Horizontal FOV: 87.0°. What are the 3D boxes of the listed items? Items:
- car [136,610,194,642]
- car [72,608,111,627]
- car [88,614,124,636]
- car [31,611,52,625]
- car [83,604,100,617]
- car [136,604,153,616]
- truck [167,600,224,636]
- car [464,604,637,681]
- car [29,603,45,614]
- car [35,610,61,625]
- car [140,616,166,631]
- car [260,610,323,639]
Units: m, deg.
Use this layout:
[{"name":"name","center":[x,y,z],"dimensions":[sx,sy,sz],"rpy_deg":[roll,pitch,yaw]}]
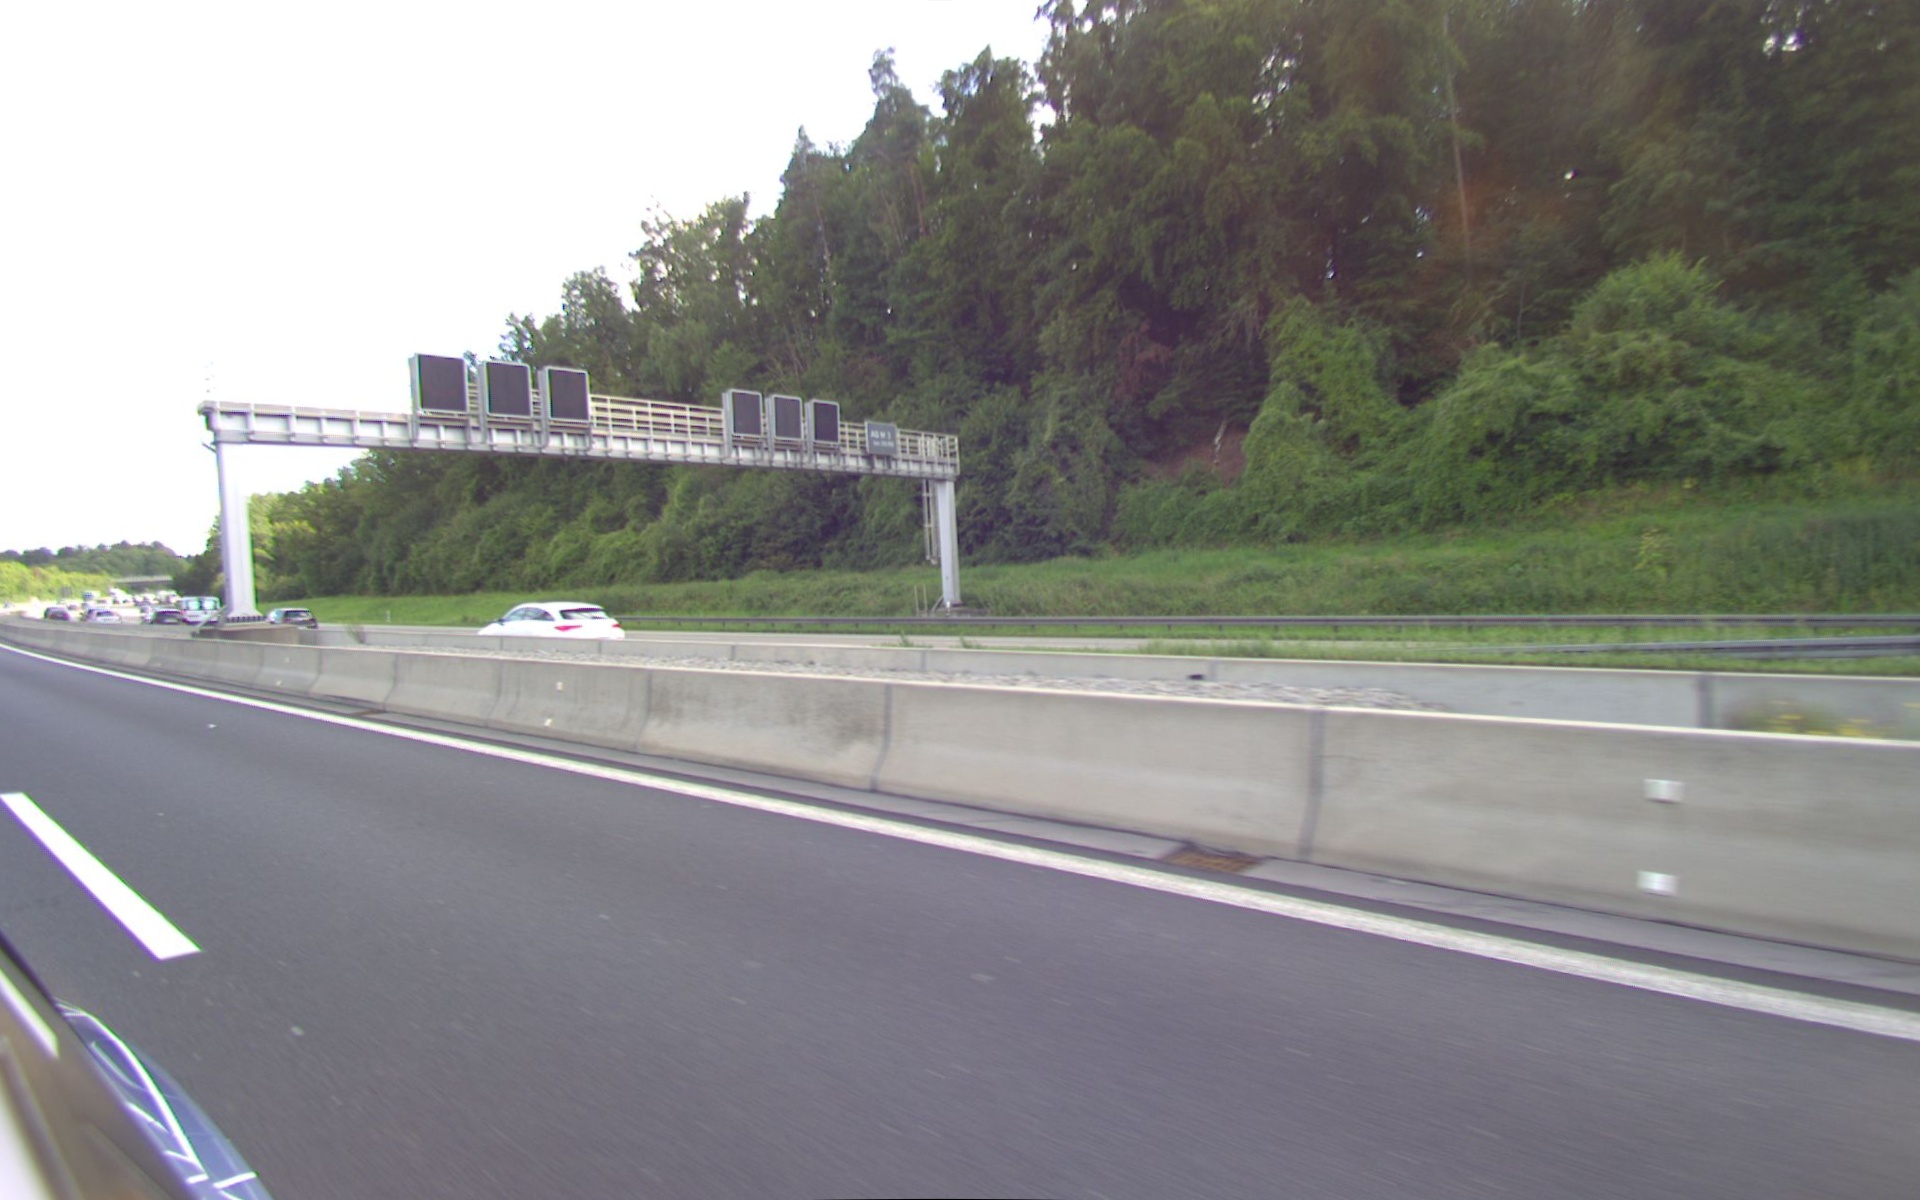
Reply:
[{"name":"car","center":[-43.946,1.411,55.921],"dimensions":[4.000,1.653,1.972],"rpy_deg":[-1,0,43]},{"name":"car","center":[-72.502,1.471,84.449],"dimensions":[5.286,1.548,1.972],"rpy_deg":[-1,0,43]},{"name":"car","center":[-60.247,1.743,71.348],"dimensions":[3.889,1.461,1.548],"rpy_deg":[-1,0,44]},{"name":"car","center":[-118.557,2.311,130.680],"dimensions":[1.854,1.710,4.317],"rpy_deg":[-1,0,-44]},{"name":"car","center":[-150.932,1.817,175.818],"dimensions":[1.970,2.029,4.783],"rpy_deg":[-1,1,-43]},{"name":"car","center":[-145.900,1.846,181.012],"dimensions":[2.001,2.050,4.786],"rpy_deg":[-1,0,-42]},{"name":"truck","center":[-51.531,1.196,68.132],"dimensions":[5.571,2.242,2.160],"rpy_deg":[-1,0,43]},{"name":"car","center":[-9.721,0.945,23.813],"dimensions":[4.930,1.593,1.746],"rpy_deg":[-1,0,42]},{"name":"car","center":[-174.671,1.573,191.506],"dimensions":[1.969,2.050,4.006],"rpy_deg":[-1,0,-40]},{"name":"car","center":[-98.445,1.832,109.215],"dimensions":[4.501,1.551,1.680],"rpy_deg":[-1,0,43]},{"name":"car","center":[-90.285,2.611,113.202],"dimensions":[1.784,1.586,4.561],"rpy_deg":[-1,0,-44]},{"name":"car","center":[-34.318,1.245,51.940],"dimensions":[4.601,1.406,1.648],"rpy_deg":[-1,0,43]}]
